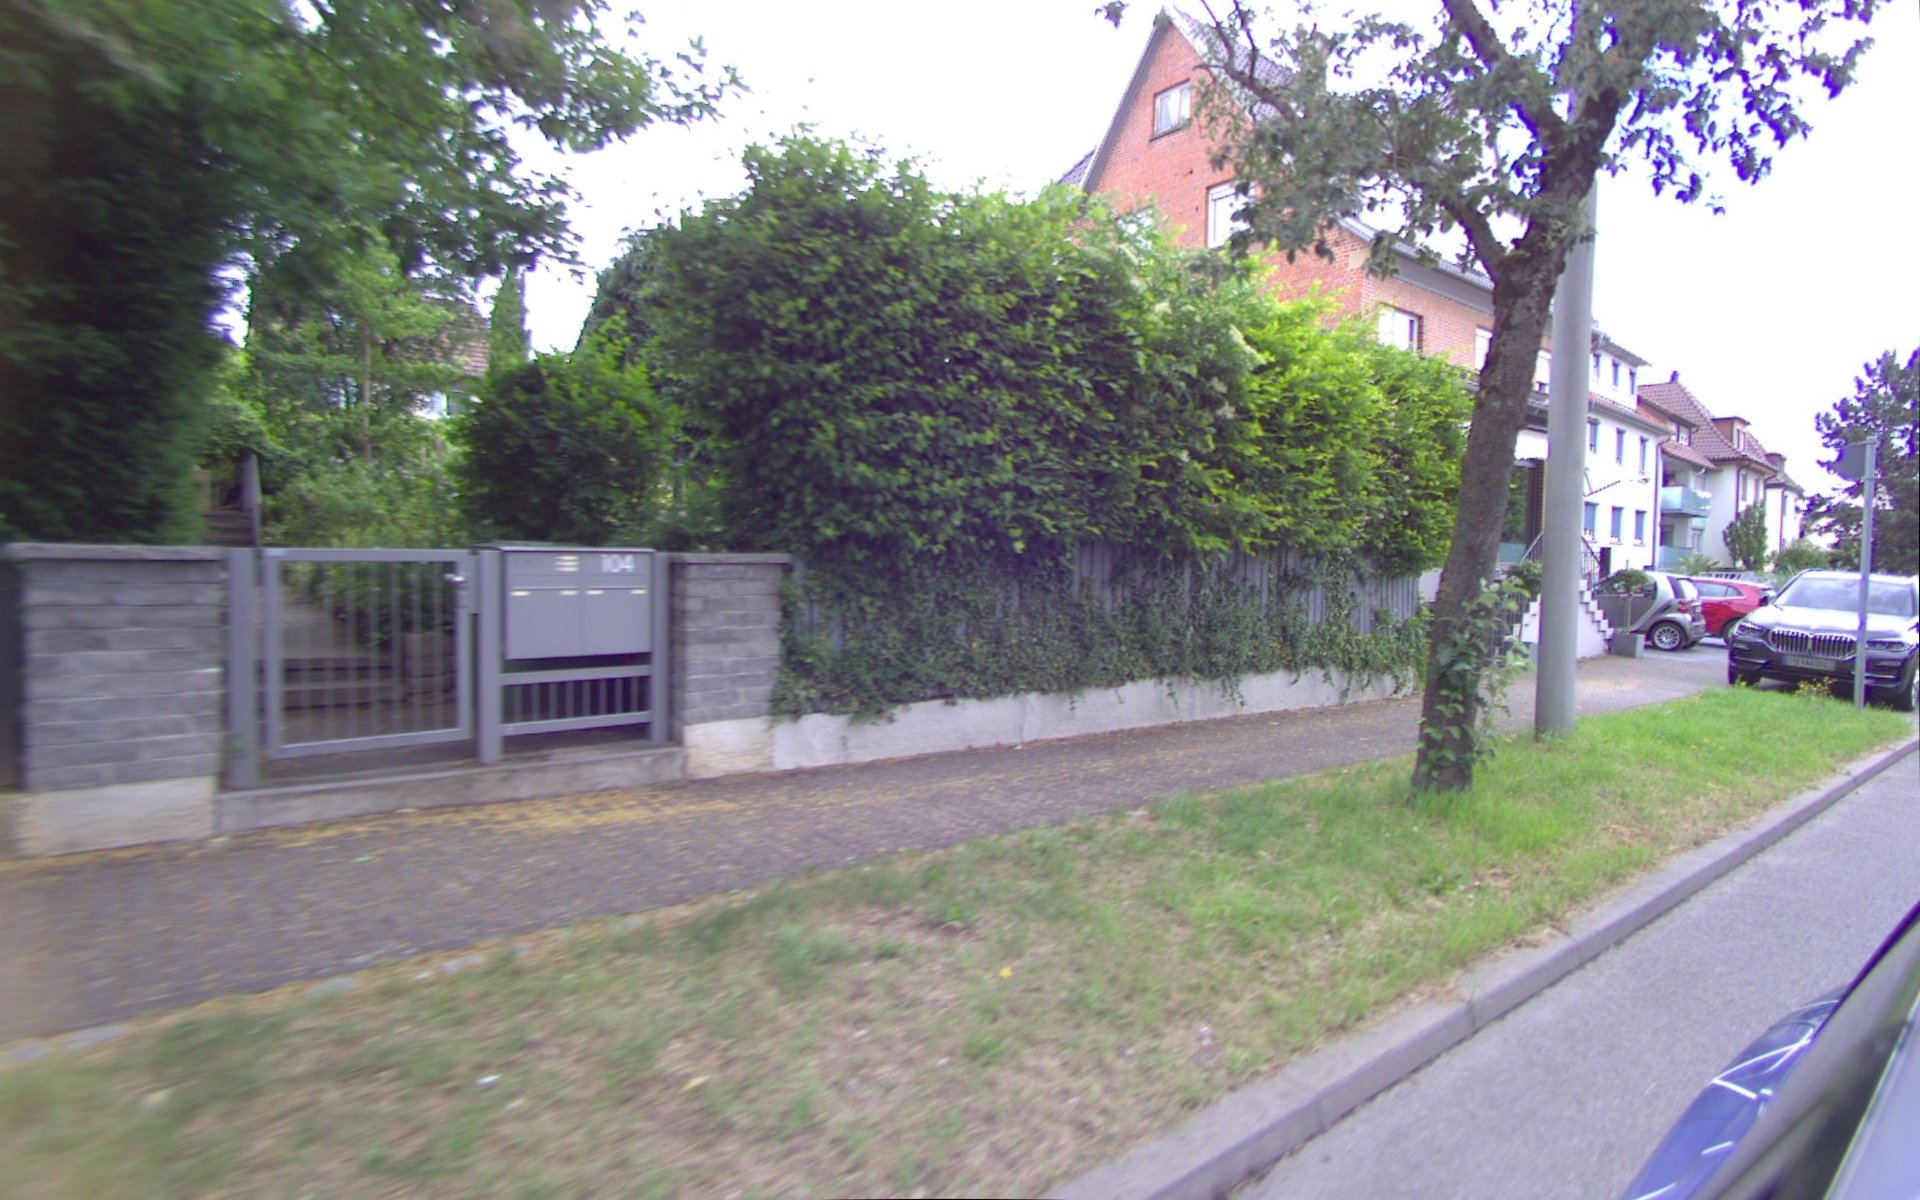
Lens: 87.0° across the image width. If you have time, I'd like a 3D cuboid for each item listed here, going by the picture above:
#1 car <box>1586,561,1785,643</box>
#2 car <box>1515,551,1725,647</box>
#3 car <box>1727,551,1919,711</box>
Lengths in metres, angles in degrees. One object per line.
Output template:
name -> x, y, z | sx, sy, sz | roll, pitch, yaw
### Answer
car -> 16.385, -0.012, 22.938 | 3.355, 1.476, 1.722 | 8, 6, 44
car -> 13.864, -0.085, 21.374 | 1.554, 1.653, 3.358 | 0, 6, -43
car -> 12.842, 0.336, 14.338 | 4.825, 1.859, 1.904 | 0, 4, -38
